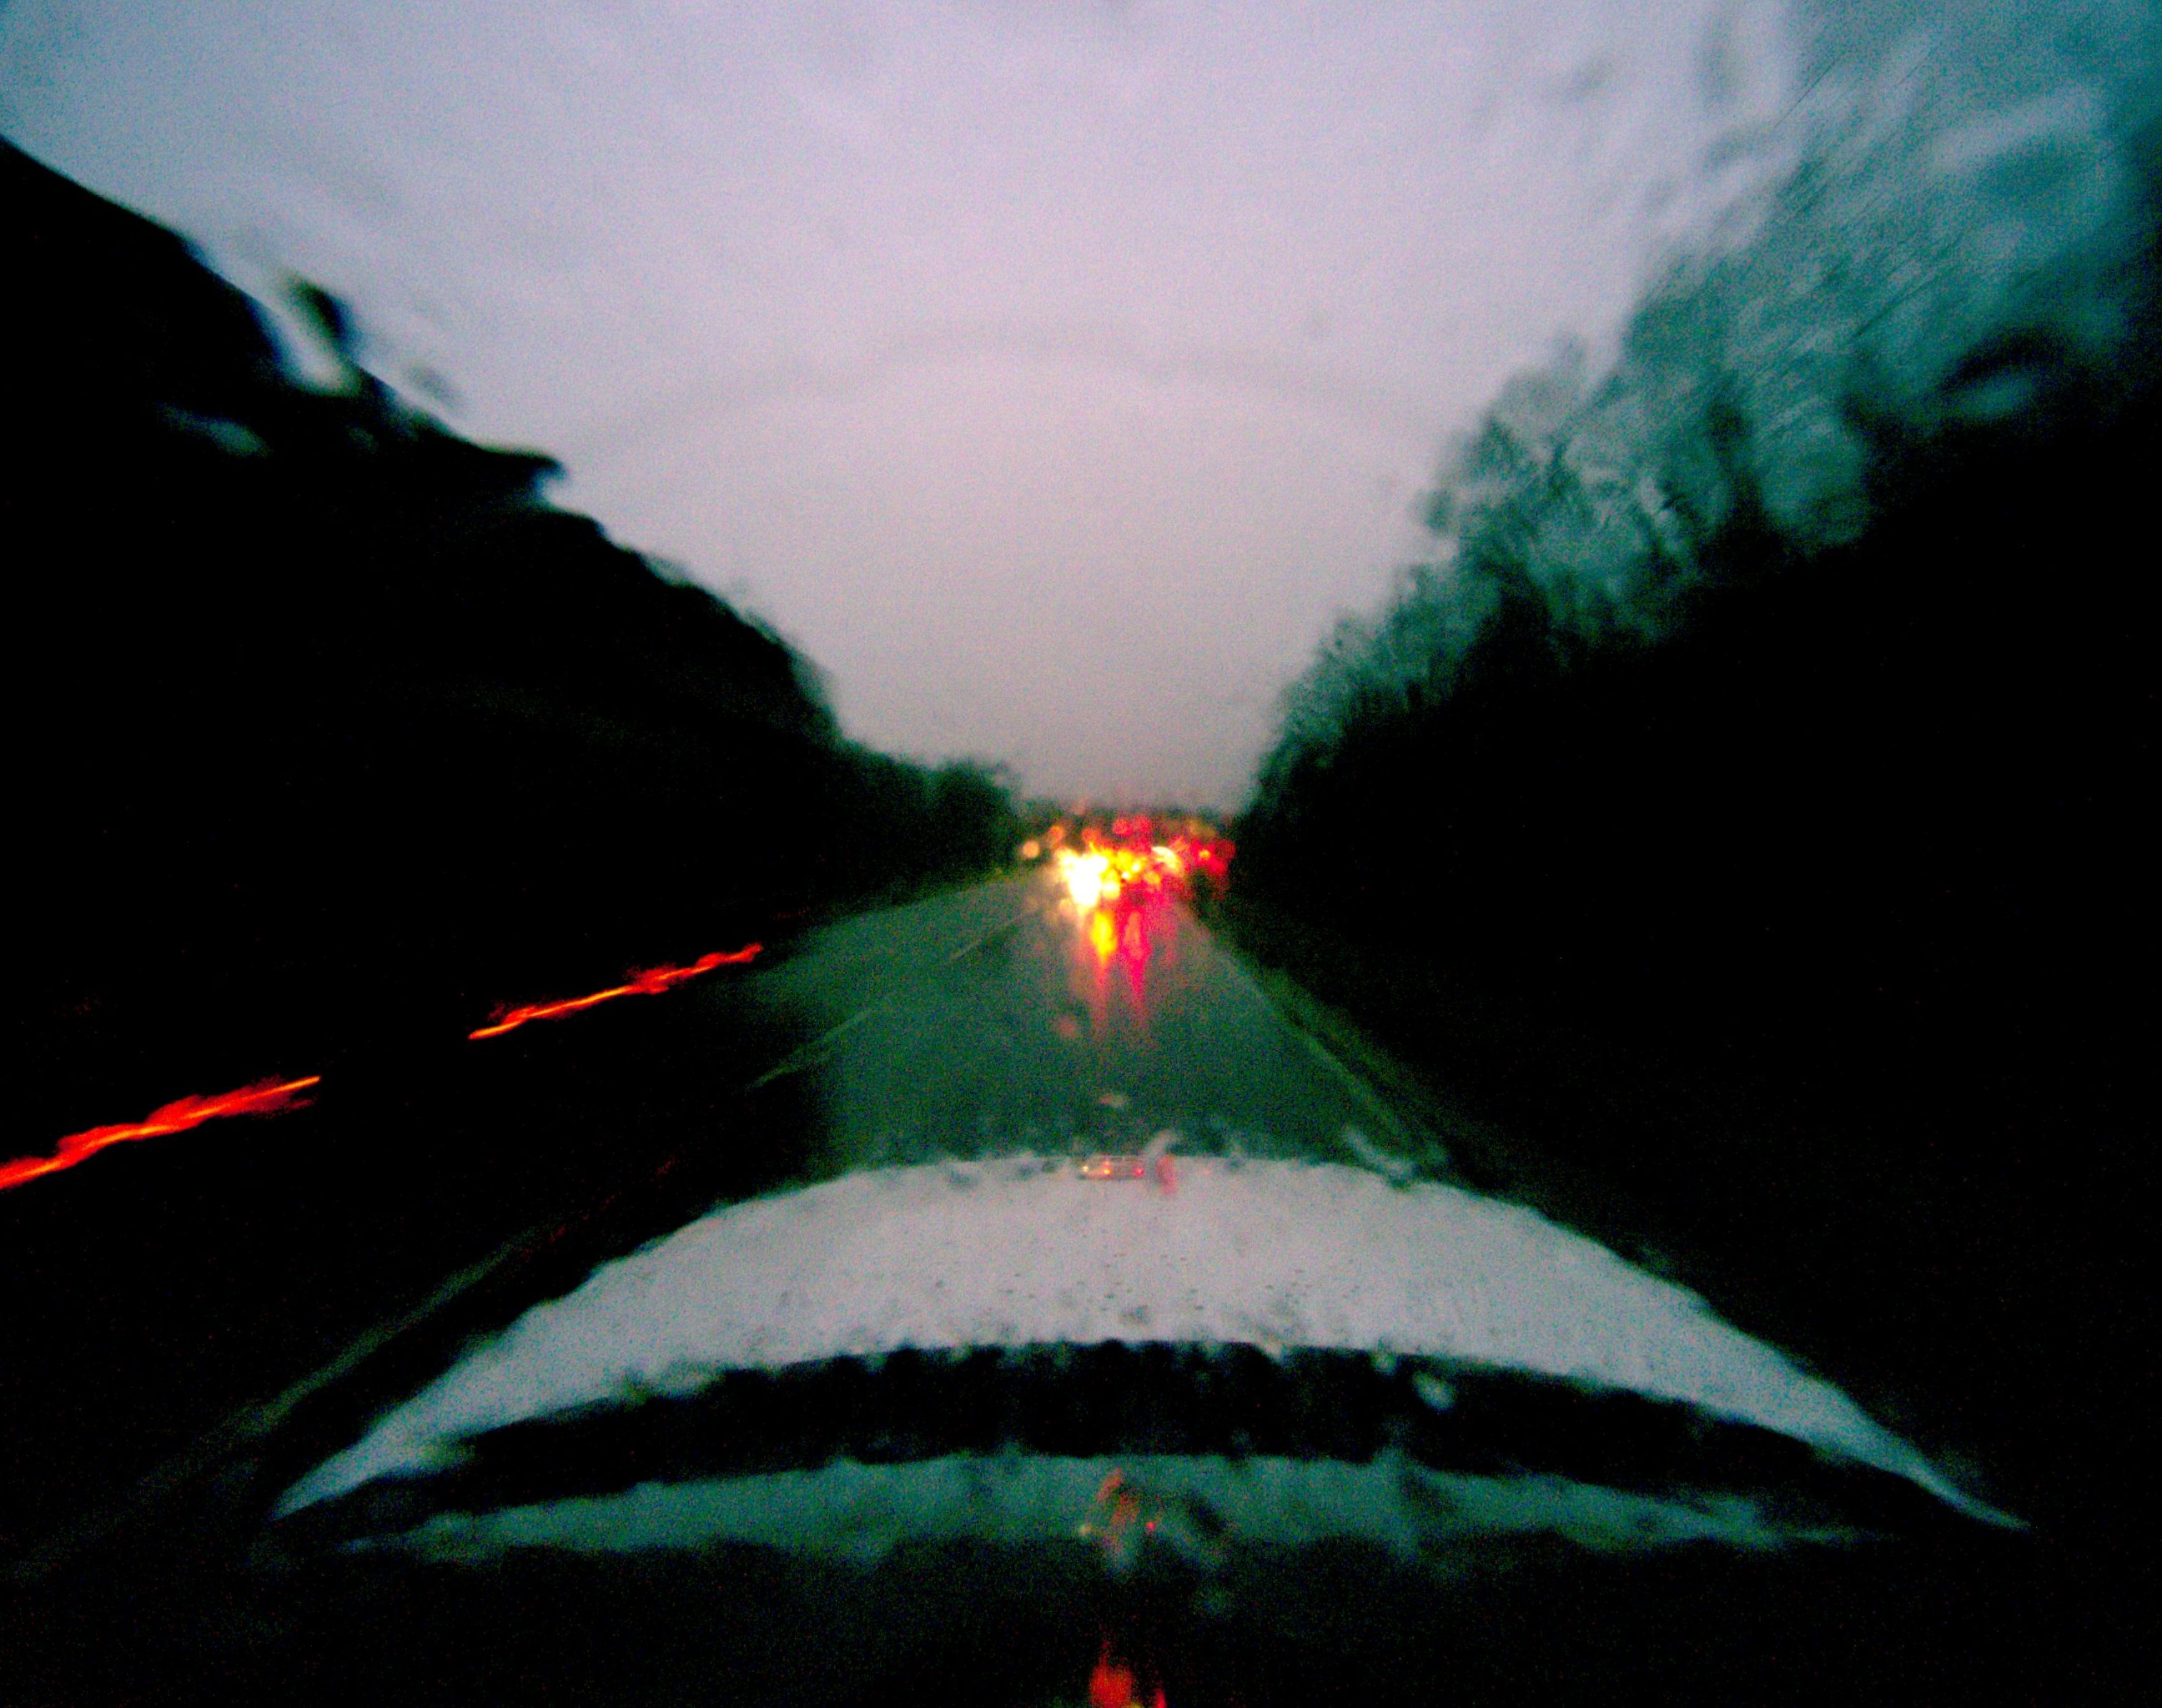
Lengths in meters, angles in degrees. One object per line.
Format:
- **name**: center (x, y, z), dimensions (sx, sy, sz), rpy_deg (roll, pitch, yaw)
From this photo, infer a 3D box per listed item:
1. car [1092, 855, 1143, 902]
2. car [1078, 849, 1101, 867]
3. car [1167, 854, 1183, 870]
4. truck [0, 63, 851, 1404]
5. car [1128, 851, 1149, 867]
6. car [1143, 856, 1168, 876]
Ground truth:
- **car**: center (1.242, 0.809, 28.951), dimensions (1.626, 1.421, 4.171), rpy_deg (2, 1, 0)
- **car**: center (0.782, 0.330, 72.177), dimensions (1.757, 1.497, 4.107), rpy_deg (0, 1, 4)
- **car**: center (10.584, 0.878, 91.522), dimensions (1.671, 1.675, 4.104), rpy_deg (0, 1, 5)
- **truck**: center (-4.150, -0.302, 4.620), dimensions (2.638, 3.596, 9.845), rpy_deg (0, -1, 1)
- **car**: center (5.807, 0.461, 82.241), dimensions (1.997, 1.556, 4.521), rpy_deg (1, 0, 3)
- **car**: center (5.631, 0.881, 62.134), dimensions (1.672, 1.389, 4.100), rpy_deg (0, 1, 1)
